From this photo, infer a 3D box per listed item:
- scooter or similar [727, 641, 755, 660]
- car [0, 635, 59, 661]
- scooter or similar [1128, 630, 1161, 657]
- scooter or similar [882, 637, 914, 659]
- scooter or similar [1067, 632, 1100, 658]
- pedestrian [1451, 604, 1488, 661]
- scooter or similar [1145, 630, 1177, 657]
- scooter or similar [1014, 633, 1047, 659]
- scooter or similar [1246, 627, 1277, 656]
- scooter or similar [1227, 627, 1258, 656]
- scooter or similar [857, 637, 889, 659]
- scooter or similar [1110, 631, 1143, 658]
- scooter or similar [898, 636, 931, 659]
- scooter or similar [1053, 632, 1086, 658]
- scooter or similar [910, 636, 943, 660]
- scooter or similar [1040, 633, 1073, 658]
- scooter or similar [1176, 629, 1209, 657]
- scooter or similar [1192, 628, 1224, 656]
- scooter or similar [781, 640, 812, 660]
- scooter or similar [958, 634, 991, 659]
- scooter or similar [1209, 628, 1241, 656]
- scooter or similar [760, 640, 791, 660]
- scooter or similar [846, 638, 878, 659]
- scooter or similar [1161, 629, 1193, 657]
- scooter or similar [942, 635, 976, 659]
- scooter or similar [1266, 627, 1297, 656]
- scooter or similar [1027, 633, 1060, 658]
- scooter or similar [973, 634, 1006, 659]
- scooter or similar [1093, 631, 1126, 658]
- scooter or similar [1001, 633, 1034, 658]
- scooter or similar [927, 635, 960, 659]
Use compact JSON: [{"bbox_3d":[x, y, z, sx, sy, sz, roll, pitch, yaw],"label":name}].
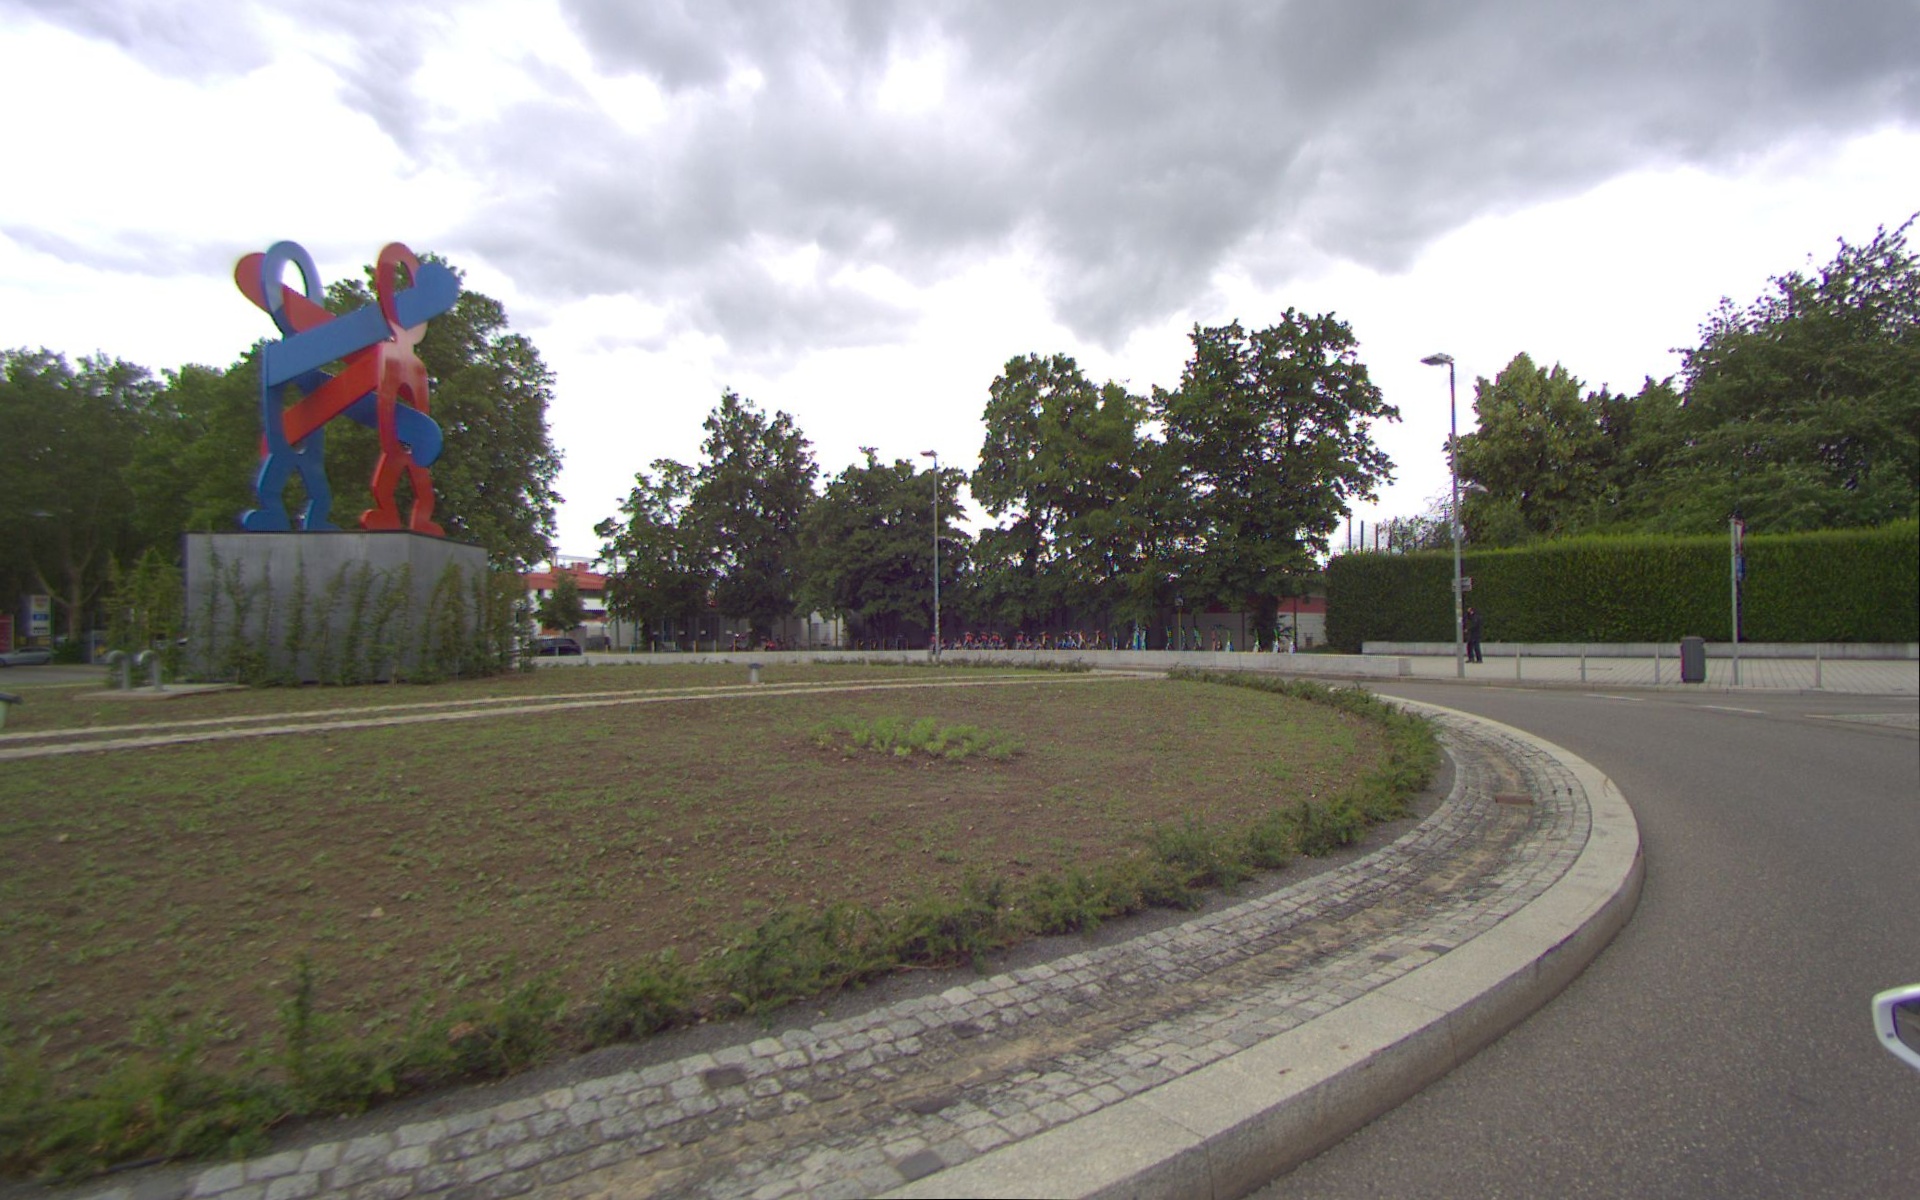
[{"bbox_3d":[-13.823,3.164,63.498,0.537,1.109,1.804,-3,-2,35],"label":"scooter or similar"},{"bbox_3d":[-67.897,3.480,72.759,1.645,1.801,3.695,-3,-2,39],"label":"car"},{"bbox_3d":[8.121,1.912,44.192,0.630,1.124,1.969,-3,-2,35],"label":"scooter or similar"},{"bbox_3d":[-3.338,2.593,54.513,0.630,1.124,1.969,-3,-2,35],"label":"scooter or similar"},{"bbox_3d":[5.652,2.040,45.956,0.630,1.124,1.969,-3,-2,35],"label":"scooter or similar"},{"bbox_3d":[16.808,1.075,33.156,0.854,1.831,0.789,-3,-2,43],"label":"pedestrian"},{"bbox_3d":[8.761,1.878,43.721,0.630,1.124,1.969,-3,-2,35],"label":"scooter or similar"},{"bbox_3d":[3.349,2.166,47.604,0.630,1.124,1.969,-3,-2,35],"label":"scooter or similar"},{"bbox_3d":[12.366,1.700,41.184,0.630,1.124,1.969,-3,-2,35],"label":"scooter or similar"},{"bbox_3d":[11.720,1.726,41.640,0.630,1.124,1.969,-3,-2,35],"label":"scooter or similar"},{"bbox_3d":[-4.776,2.649,55.163,0.630,1.124,1.969,-3,-2,35],"label":"scooter or similar"},{"bbox_3d":[7.420,1.955,44.687,0.630,1.124,1.969,-3,-2,35],"label":"scooter or similar"},{"bbox_3d":[-2.335,2.468,52.236,0.630,1.119,1.969,-3,-2,35],"label":"scooter or similar"},{"bbox_3d":[5.082,2.078,46.360,0.630,1.124,1.969,-3,-2,35],"label":"scooter or similar"},{"bbox_3d":[-1.717,2.465,51.785,0.630,1.124,1.969,-3,-2,35],"label":"scooter or similar"},{"bbox_3d":[4.509,2.107,46.761,0.630,1.124,1.969,-3,-2,35],"label":"scooter or similar"},{"bbox_3d":[9.937,1.828,42.864,0.630,1.124,1.969,-3,-2,35],"label":"scooter or similar"},{"bbox_3d":[10.505,1.772,42.473,0.630,1.124,1.969,-3,-2,35],"label":"scooter or similar"},{"bbox_3d":[-9.781,2.965,60.081,0.630,1.124,1.969,-3,-2,35],"label":"scooter or similar"},{"bbox_3d":[0.736,2.292,49.590,0.630,1.124,1.969,-3,-2,35],"label":"scooter or similar"},{"bbox_3d":[11.114,1.753,42.033,0.630,1.124,1.969,-3,-2,35],"label":"scooter or similar"},{"bbox_3d":[-11.275,3.052,61.499,0.630,1.124,1.969,-3,-2,35],"label":"scooter or similar"},{"bbox_3d":[-5.443,2.687,55.699,0.630,1.124,1.969,-3,-2,35],"label":"scooter or similar"},{"bbox_3d":[9.359,1.836,43.257,0.630,1.124,1.969,-3,-2,35],"label":"scooter or similar"},{"bbox_3d":[-0.044,2.358,50.258,0.630,1.124,1.969,-3,-2,35],"label":"scooter or similar"},{"bbox_3d":[13.037,1.664,40.695,0.630,1.124,1.969,-3,-2,35],"label":"scooter or similar"},{"bbox_3d":[3.934,2.124,47.189,0.630,1.124,1.969,-3,-2,35],"label":"scooter or similar"},{"bbox_3d":[1.436,2.273,49.062,0.630,1.124,1.969,-3,-2,35],"label":"scooter or similar"},{"bbox_3d":[6.723,1.982,45.160,0.630,1.124,1.969,-3,-2,35],"label":"scooter or similar"},{"bbox_3d":[2.761,2.186,47.999,0.630,1.124,1.969,-3,-2,35],"label":"scooter or similar"},{"bbox_3d":[-0.826,2.383,50.811,0.630,1.124,1.969,-3,-2,35],"label":"scooter or similar"}]
